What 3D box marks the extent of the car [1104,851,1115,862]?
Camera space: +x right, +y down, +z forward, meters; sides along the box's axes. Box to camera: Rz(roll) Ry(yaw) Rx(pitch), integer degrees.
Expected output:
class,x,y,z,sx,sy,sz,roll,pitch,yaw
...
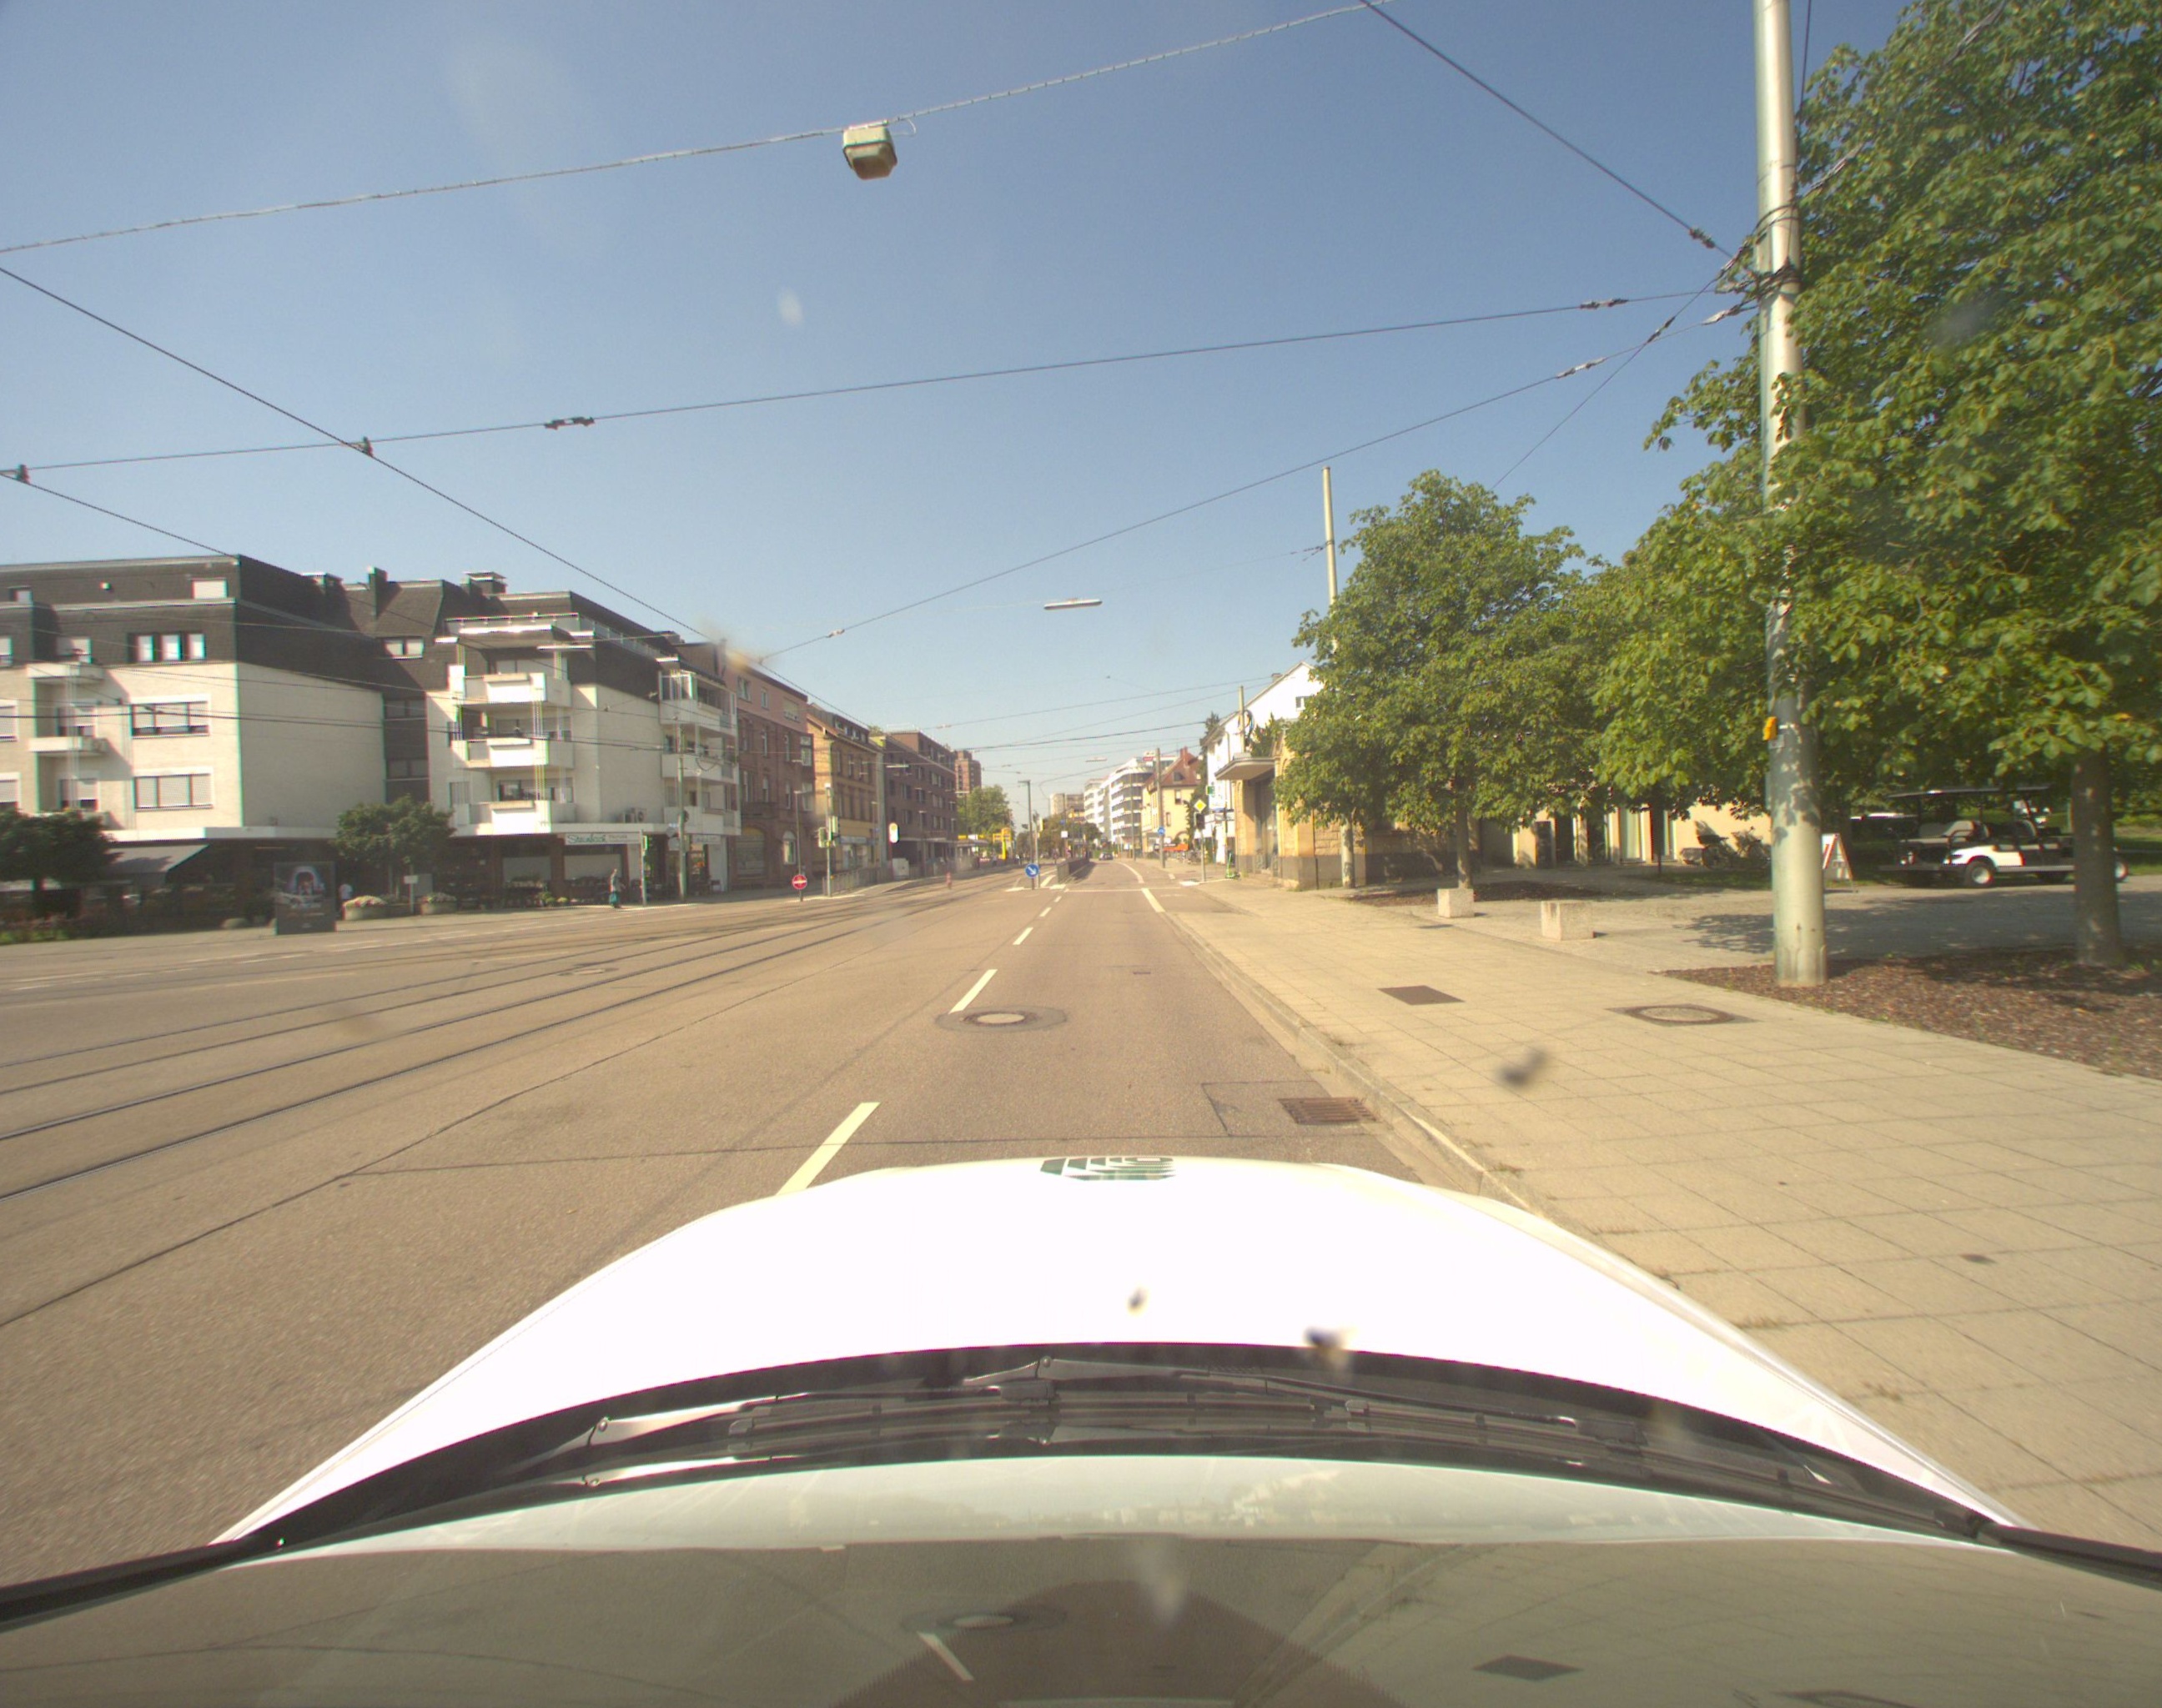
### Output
class,x,y,z,sx,sy,sz,roll,pitch,yaw
car,5.525,0.518,157.528,2.003,1.859,4.003,-4,0,3

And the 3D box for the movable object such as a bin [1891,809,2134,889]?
class,x,y,z,sx,sy,sz,roll,pitch,yaw
movable object such as a bin,17.717,-0.092,15.570,3.095,1.298,1.301,-3,0,1

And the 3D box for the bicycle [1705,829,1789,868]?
class,x,y,z,sx,sy,sz,roll,pitch,yaw
bicycle,18.140,-0.138,22.202,1.897,0.980,0.427,-2,0,1

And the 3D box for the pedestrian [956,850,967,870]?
class,x,y,z,sx,sy,sz,roll,pitch,yaw
pedestrian,-10.729,0.558,73.149,0.705,1.747,0.799,-4,0,2

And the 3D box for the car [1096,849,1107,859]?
class,x,y,z,sx,sy,sz,roll,pitch,yaw
car,4.096,-0.059,163.641,2.003,1.859,4.003,-4,0,3

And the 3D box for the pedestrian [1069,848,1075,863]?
class,x,y,z,sx,sy,sz,roll,pitch,yaw
pedestrian,-1.029,0.152,92.041,0.535,1.703,0.582,-4,0,-1

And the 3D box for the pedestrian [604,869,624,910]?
class,x,y,z,sx,sy,sz,roll,pitch,yaw
pedestrian,-20.429,1.542,35.622,0.602,1.745,0.560,-4,0,-32

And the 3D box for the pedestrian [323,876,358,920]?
class,x,y,z,sx,sy,sz,roll,pitch,yaw
pedestrian,-30.430,1.791,33.467,0.677,1.741,0.698,-4,0,3

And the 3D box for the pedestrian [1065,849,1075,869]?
class,x,y,z,sx,sy,sz,roll,pitch,yaw
pedestrian,-0.943,0.411,70.151,0.717,1.703,0.885,-4,0,3

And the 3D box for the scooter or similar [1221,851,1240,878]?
class,x,y,z,sx,sy,sz,roll,pitch,yaw
scooter or similar,6.629,0.444,36.151,0.521,1.133,1.512,-4,0,3

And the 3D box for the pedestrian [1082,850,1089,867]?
class,x,y,z,sx,sy,sz,roll,pitch,yaw
pedestrian,0.462,0.423,81.845,0.535,1.703,0.582,-4,0,-1

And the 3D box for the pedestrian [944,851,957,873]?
class,x,y,z,sx,sy,sz,roll,pitch,yaw
pedestrian,-10.647,0.664,66.486,0.705,1.723,0.799,-4,0,2

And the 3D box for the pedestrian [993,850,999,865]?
class,x,y,z,sx,sy,sz,roll,pitch,yaw
pedestrian,-9.129,0.392,87.249,0.531,1.530,0.700,-4,0,-4

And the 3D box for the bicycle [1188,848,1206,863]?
class,x,y,z,sx,sy,sz,roll,pitch,yaw
bicycle,9.499,0.135,67.038,0.730,1.132,2.834,-6,0,-5

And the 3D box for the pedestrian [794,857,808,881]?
class,x,y,z,sx,sy,sz,roll,pitch,yaw
pedestrian,-18.825,0.995,54.825,0.479,1.560,0.890,-2,-1,13
